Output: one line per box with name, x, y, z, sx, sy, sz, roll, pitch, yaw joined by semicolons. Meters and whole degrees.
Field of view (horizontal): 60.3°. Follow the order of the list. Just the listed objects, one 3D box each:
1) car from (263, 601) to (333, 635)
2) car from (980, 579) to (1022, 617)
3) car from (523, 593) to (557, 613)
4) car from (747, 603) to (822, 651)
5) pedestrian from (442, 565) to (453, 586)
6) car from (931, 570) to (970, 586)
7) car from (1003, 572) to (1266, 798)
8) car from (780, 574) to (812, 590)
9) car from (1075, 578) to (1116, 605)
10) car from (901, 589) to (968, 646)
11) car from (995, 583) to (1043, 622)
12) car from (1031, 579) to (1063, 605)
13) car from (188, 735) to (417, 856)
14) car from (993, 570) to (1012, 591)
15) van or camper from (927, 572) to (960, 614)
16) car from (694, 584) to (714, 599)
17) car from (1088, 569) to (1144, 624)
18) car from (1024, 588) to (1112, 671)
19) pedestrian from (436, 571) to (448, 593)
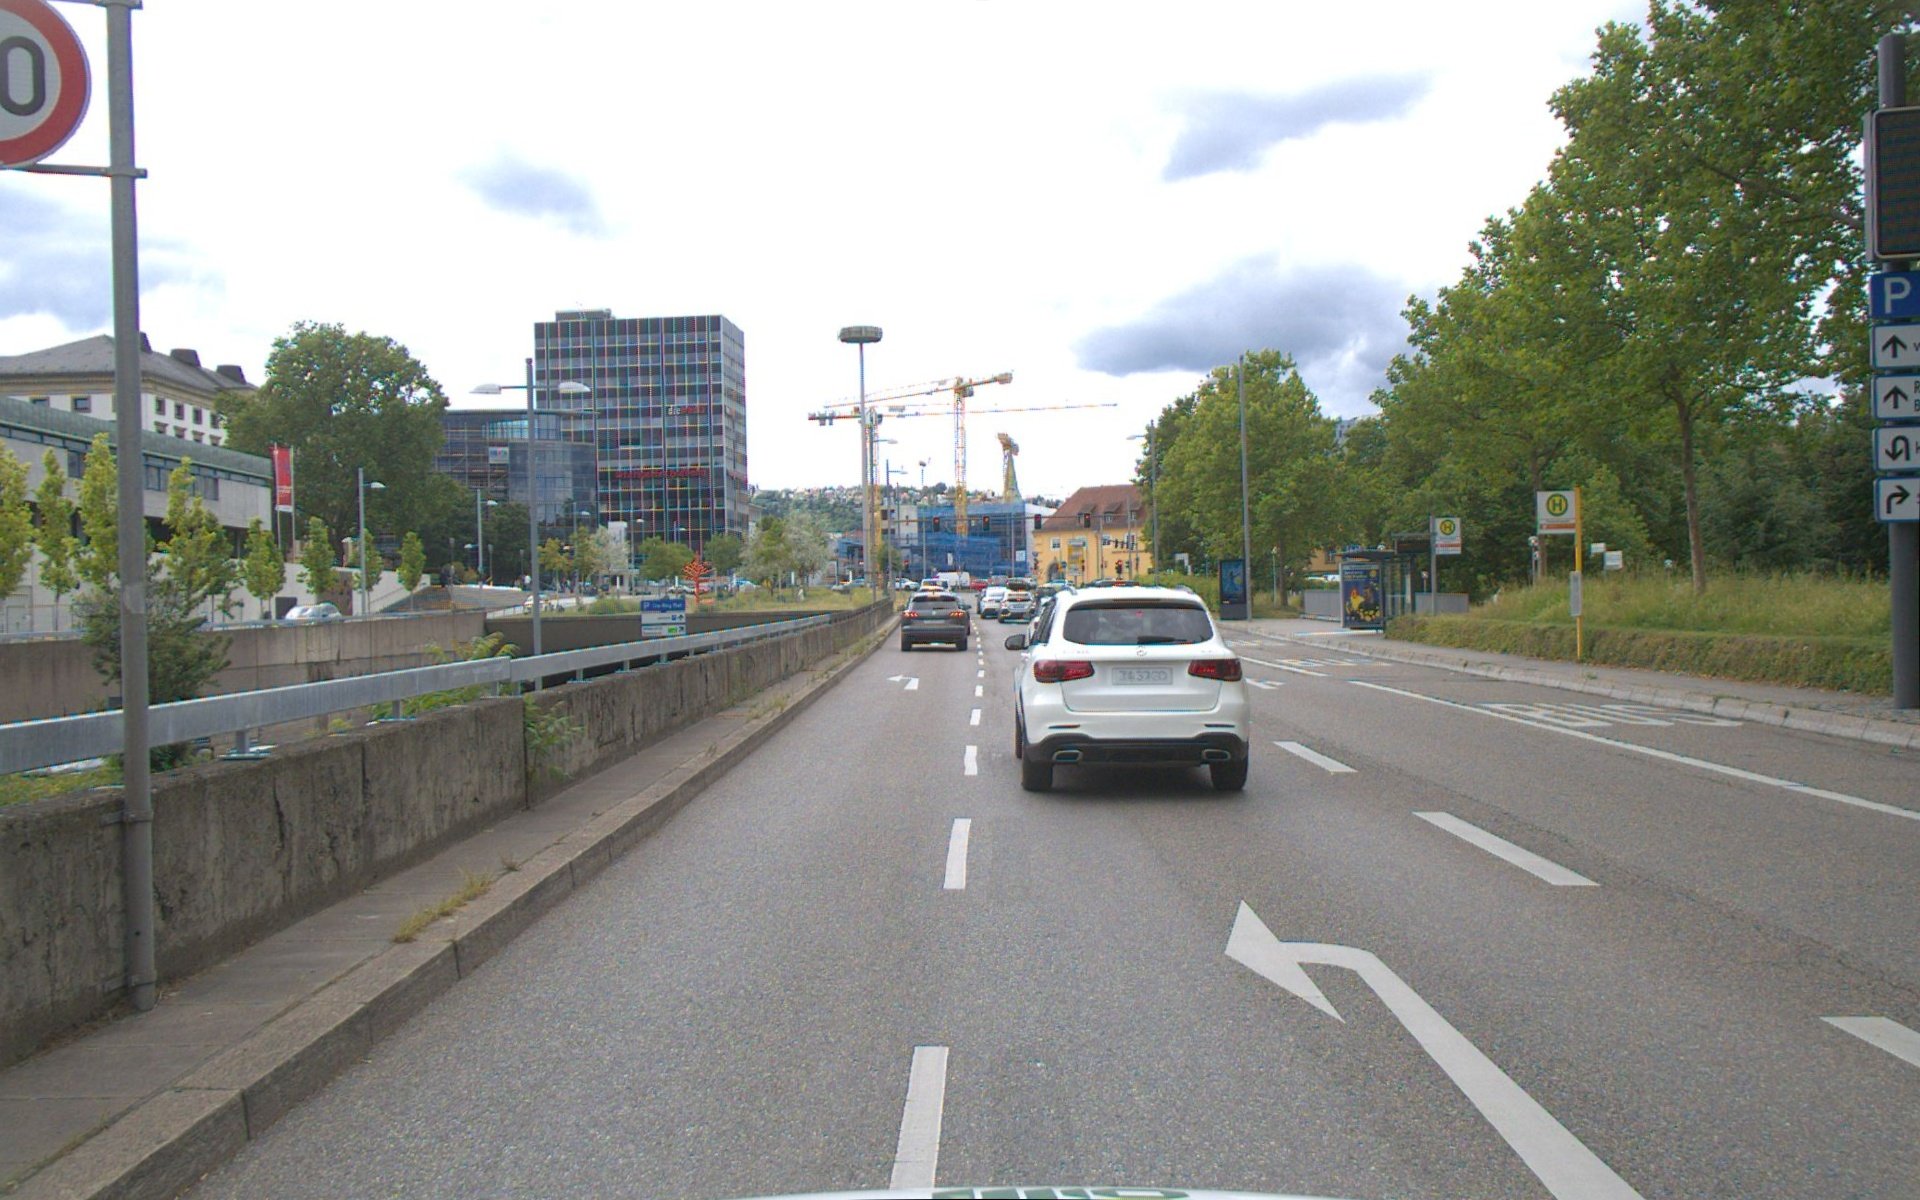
car;-28.824;0.776;72.144;1.796;1.384;3.864;1;-1;-6
car;2.071;-0.087;83.994;1.953;1.812;3.999;1;-1;-1
car;-32.300;0.218;127.307;1.772;1.452;3.706;1;-1;-2
car;-5.130;0.758;48.845;1.683;1.315;4.000;1;0;1
pedestrian;-44.653;-2.127;144.062;0.679;1.759;0.641;1;-1;23
car;-1.288;-3.018;223.918;5.181;2.096;1.867;1;-1;35
car;1.378;0.668;14.562;1.901;1.713;4.000;0;-1;0
car;-21.759;-2.370;219.261;3.924;2.049;1.990;1;-1;-18
car;8.668;-0.507;105.981;1.954;1.646;3.996;1;-1;-5
car;-0.743;0.486;48.940;1.883;1.630;3.999;0;0;-1
car;2.670;0.122;75.363;1.953;1.691;3.999;1;-1;-1
car;5.561;-0.489;105.868;1.684;1.612;3.998;1;0;-2
car;-10.699;3.141;27.330;1.775;1.486;4.863;0;-1;1
car;4.418;-2.037;171.029;1.763;2.049;3.999;1;-1;-1
van or camper;-0.983;-0.365;98.169;1.883;2.360;3.999;0;-2;-1
car;-30.376;-0.979;196.445;1.829;1.646;3.480;1;-1;-1
car;6.014;-0.136;64.192;1.751;2.049;3.999;0;0;-1
car;2.278;0.608;35.711;1.638;1.656;4.000;1;0;0
pedestrian;-41.933;-1.453;133.915;0.680;1.759;0.640;0;-1;29
